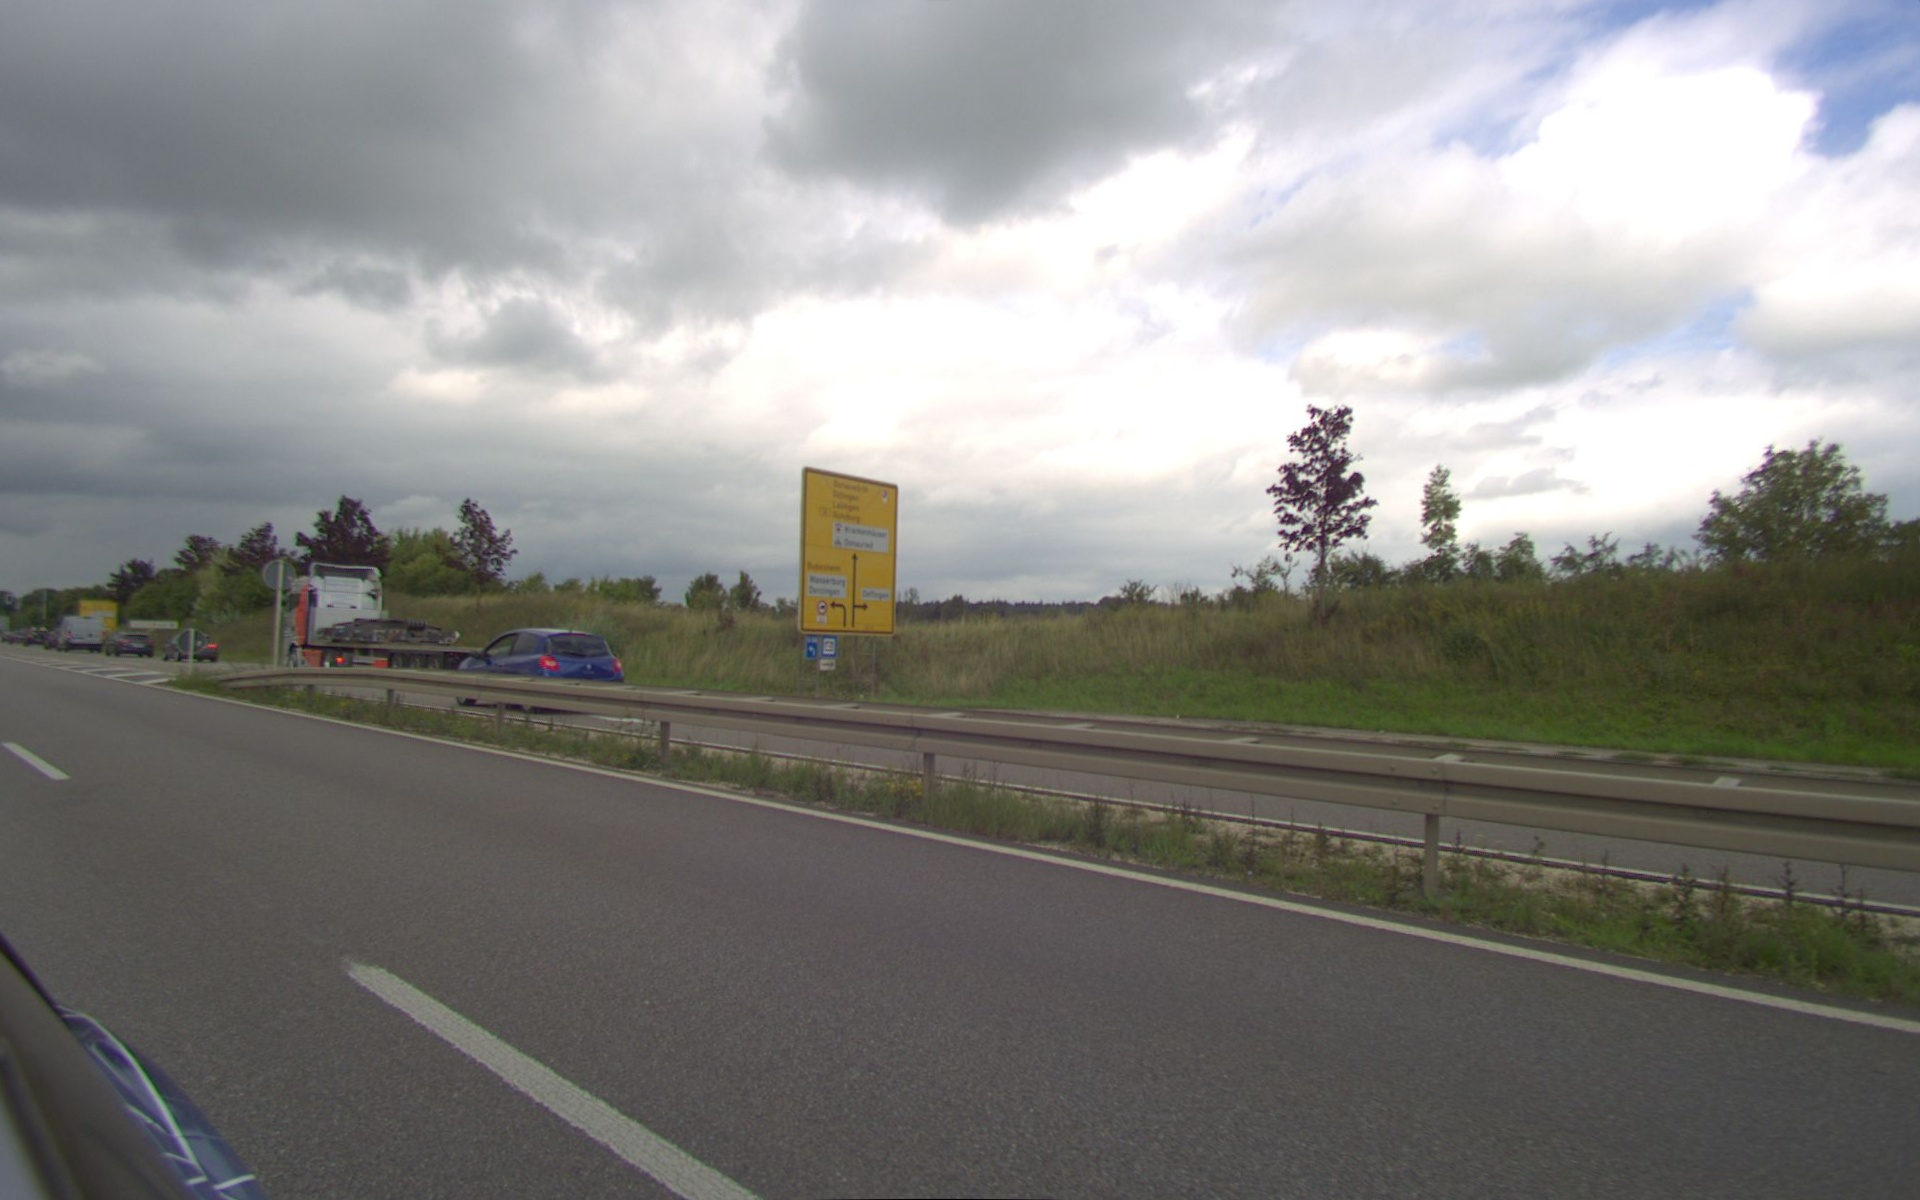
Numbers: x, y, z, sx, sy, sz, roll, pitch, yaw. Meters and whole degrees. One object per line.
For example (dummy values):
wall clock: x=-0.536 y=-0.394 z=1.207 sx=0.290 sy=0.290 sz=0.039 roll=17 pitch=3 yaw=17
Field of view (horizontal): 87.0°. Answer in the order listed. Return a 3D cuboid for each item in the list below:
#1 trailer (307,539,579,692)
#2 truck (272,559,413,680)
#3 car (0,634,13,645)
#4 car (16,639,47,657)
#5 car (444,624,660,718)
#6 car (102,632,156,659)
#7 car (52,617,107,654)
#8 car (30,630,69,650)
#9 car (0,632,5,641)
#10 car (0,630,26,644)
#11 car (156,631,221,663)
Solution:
trailer: x=-16.500 y=0.602 z=31.513 sx=12.976 sy=3.977 sz=2.746 roll=-2 pitch=-3 yaw=41
truck: x=-22.335 y=0.752 z=36.528 sx=5.283 sy=4.028 sz=2.774 roll=-2 pitch=-3 yaw=41
car: x=-127.598 y=5.279 z=134.788 sx=4.705 sy=1.416 sz=1.774 roll=-2 pitch=-6 yaw=43
car: x=-89.722 y=4.652 z=97.757 sx=4.516 sy=1.647 sz=1.774 roll=-2 pitch=-6 yaw=43
car: x=-7.646 y=1.259 z=18.800 sx=4.191 sy=1.530 sz=2.064 roll=-2 pitch=-3 yaw=42
car: x=-49.771 y=2.705 z=60.583 sx=4.545 sy=1.542 sz=1.714 roll=-2 pitch=-5 yaw=41
car: x=-61.807 y=2.503 z=70.984 sx=5.632 sy=2.458 sz=2.012 roll=-2 pitch=-5 yaw=41
car: x=-71.511 y=3.136 z=79.480 sx=4.191 sy=1.542 sz=1.714 roll=-2 pitch=-5 yaw=41
car: x=-149.853 y=5.630 z=157.383 sx=4.056 sy=1.425 sz=1.590 roll=-2 pitch=-4 yaw=43
car: x=-109.083 y=4.280 z=116.614 sx=4.705 sy=1.523 sz=1.774 roll=-2 pitch=-6 yaw=43
car: x=-38.882 y=2.372 z=50.987 sx=4.191 sy=1.542 sz=1.714 roll=-2 pitch=-5 yaw=41
